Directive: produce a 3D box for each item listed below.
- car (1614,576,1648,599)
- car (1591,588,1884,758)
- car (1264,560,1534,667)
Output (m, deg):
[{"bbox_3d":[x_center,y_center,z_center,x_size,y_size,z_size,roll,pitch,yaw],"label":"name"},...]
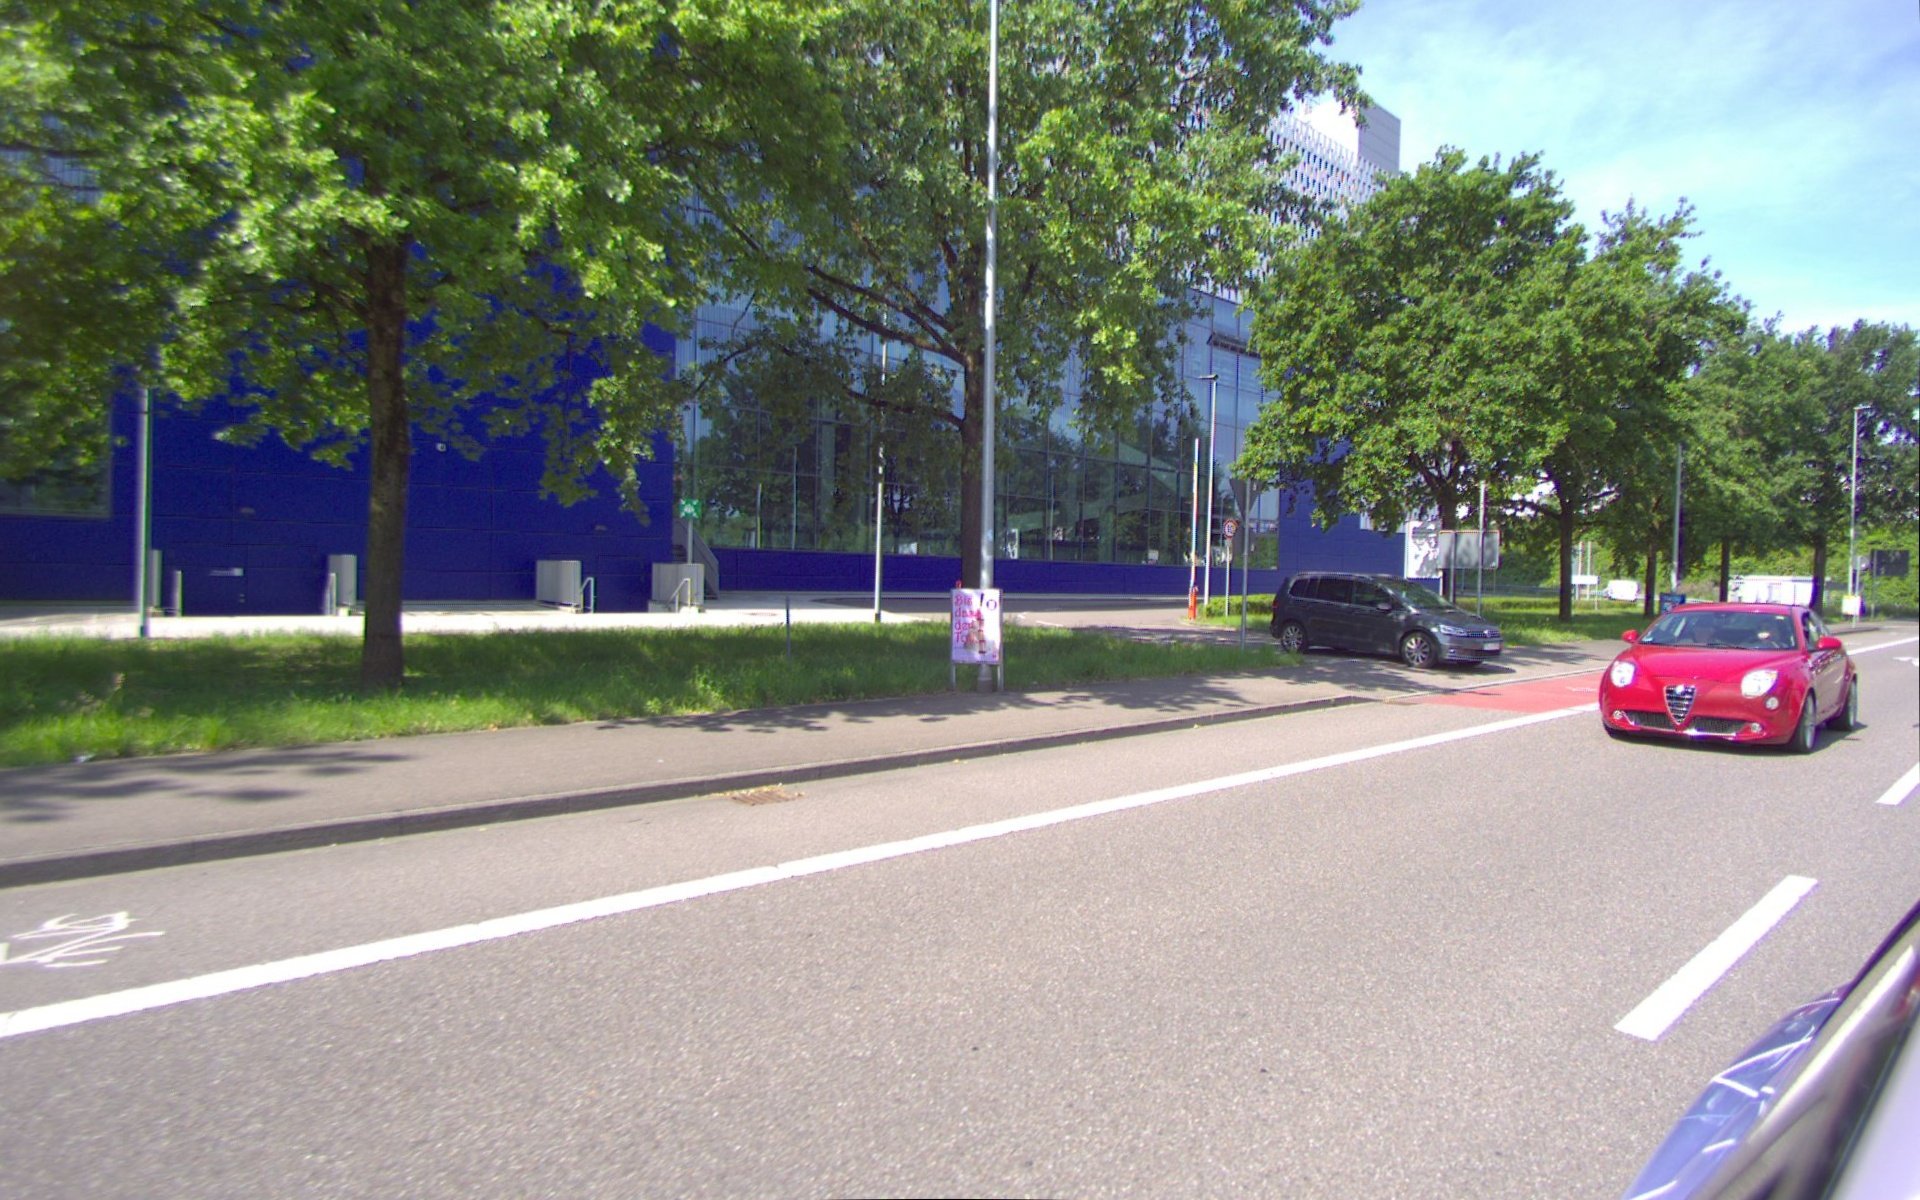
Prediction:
[{"bbox_3d":[49.704,-0.930,75.061,1.841,1.660,4.258,0,0,30],"label":"car"},{"bbox_3d":[8.489,0.626,10.938,3.910,1.472,1.796,-1,1,-41],"label":"car"},{"bbox_3d":[8.264,0.149,19.463,1.808,1.714,4.462,0,3,-33],"label":"car"}]
